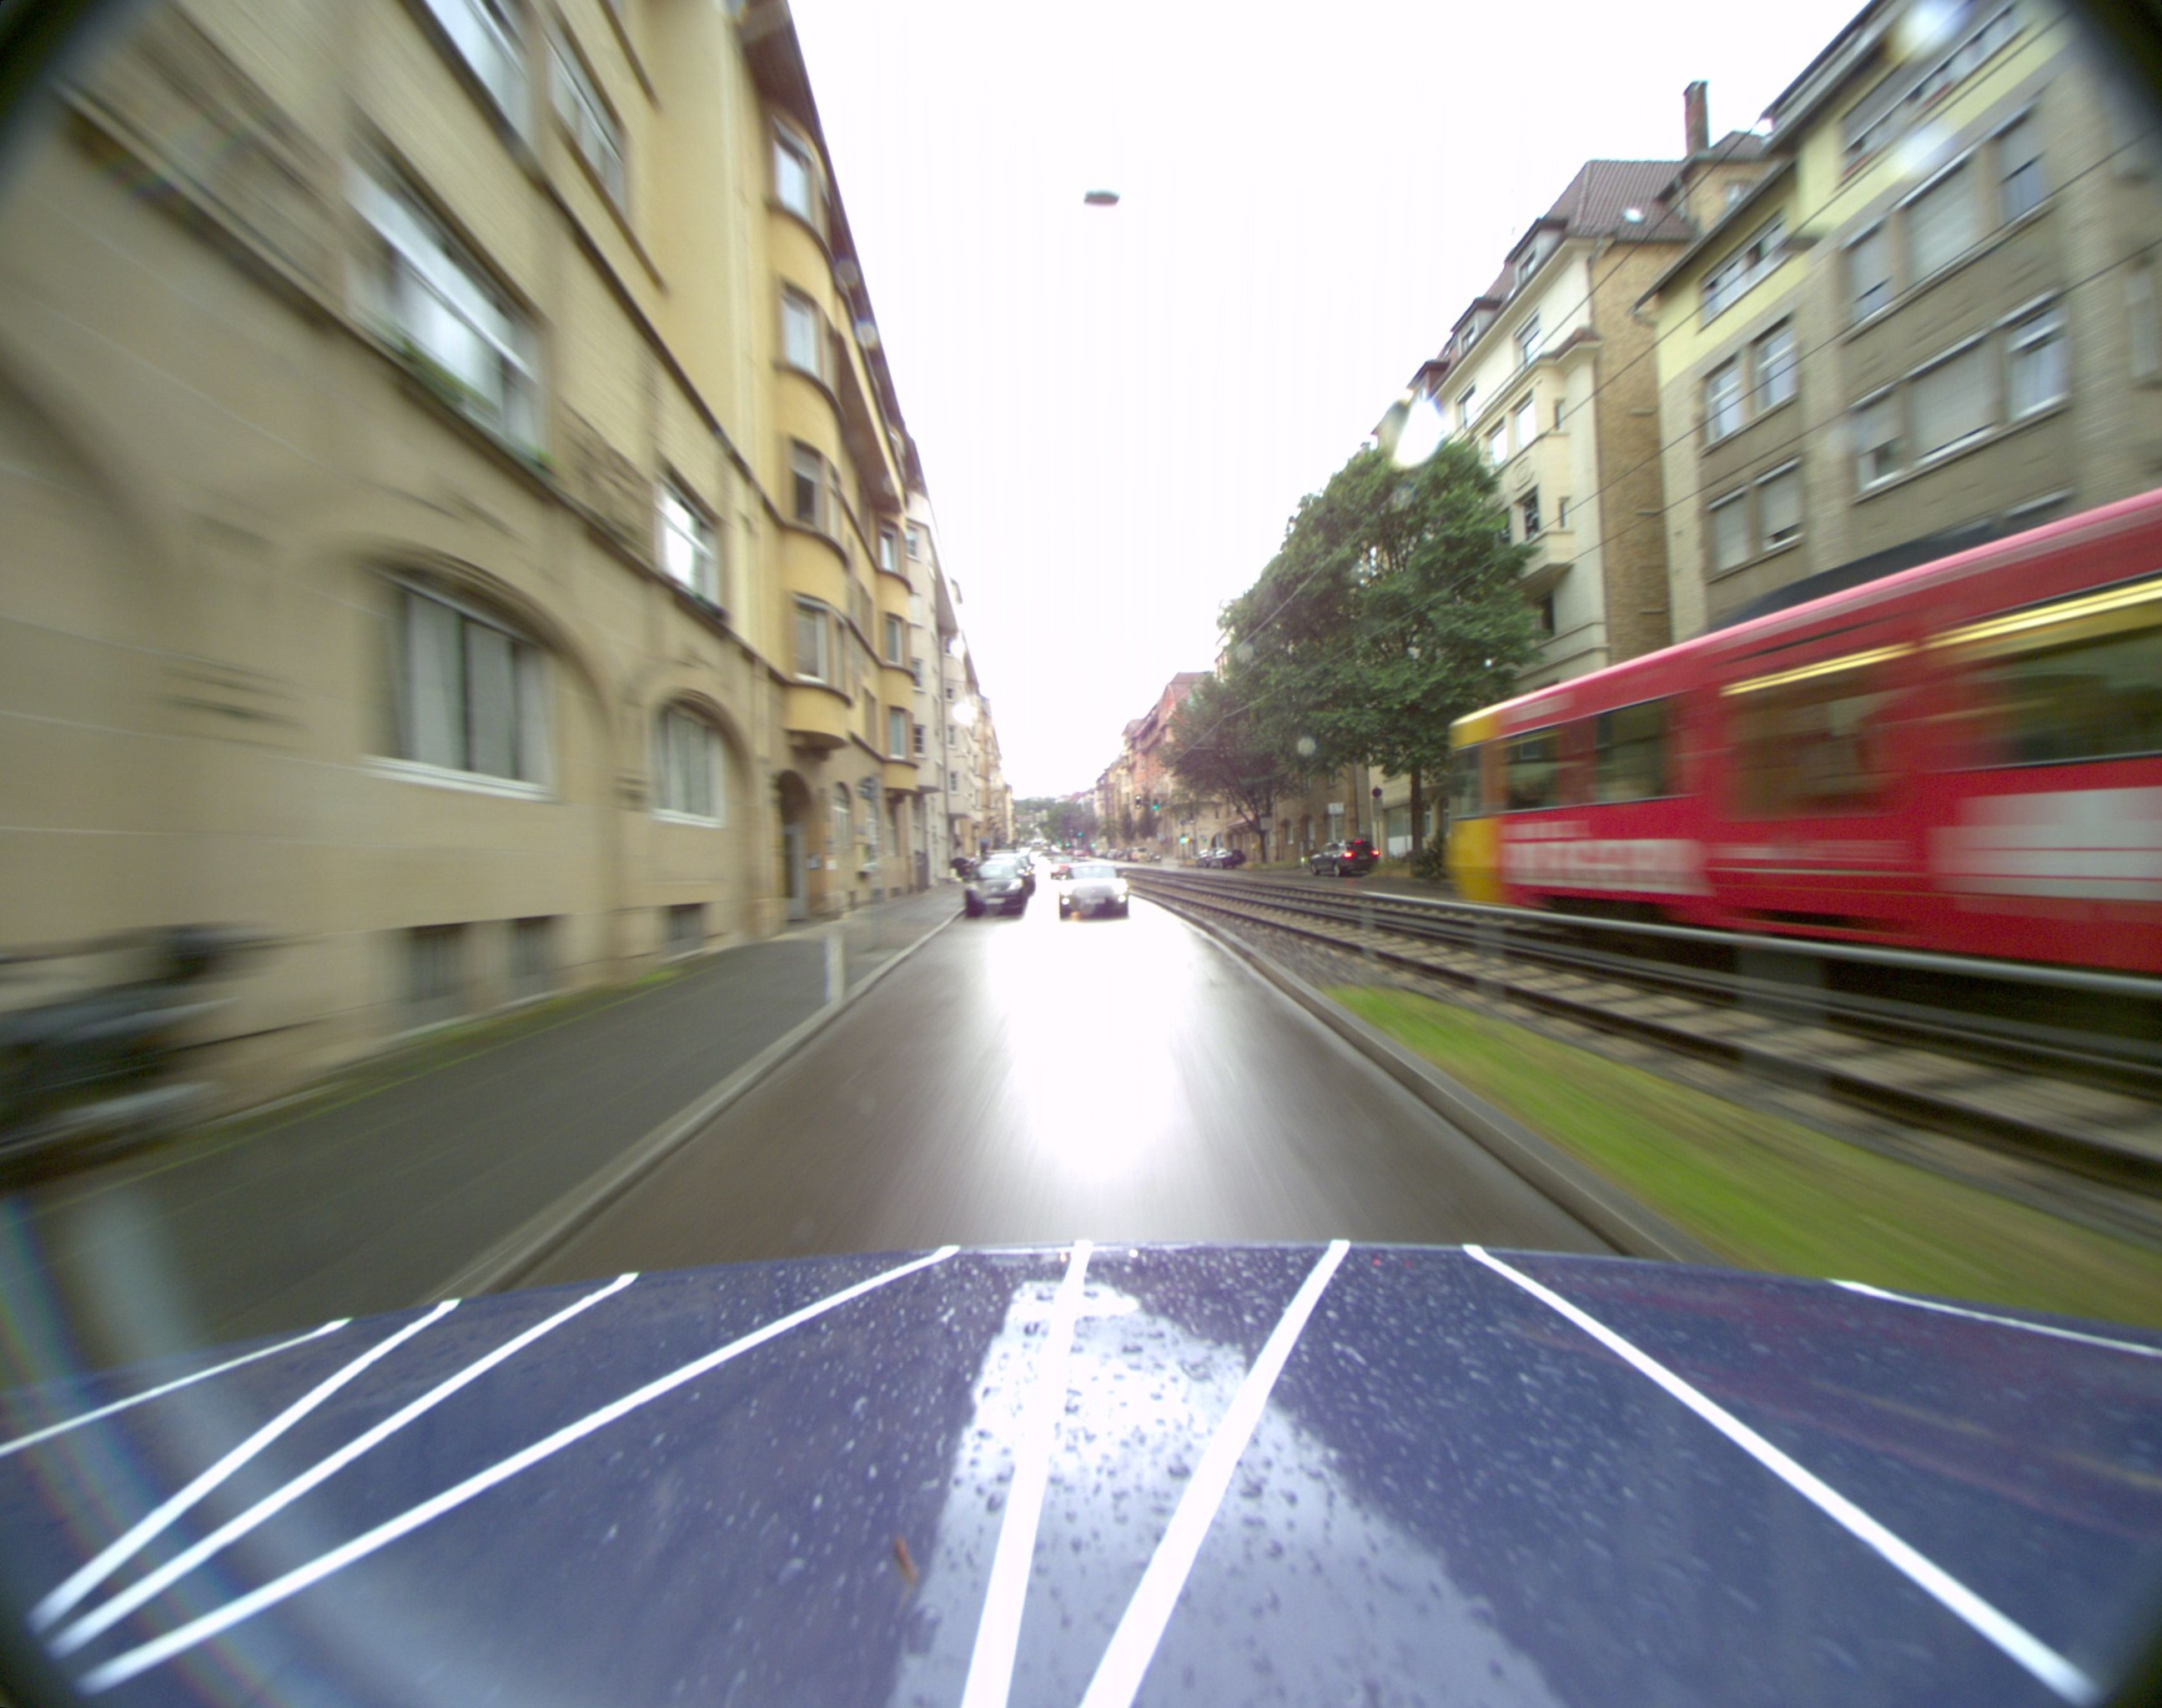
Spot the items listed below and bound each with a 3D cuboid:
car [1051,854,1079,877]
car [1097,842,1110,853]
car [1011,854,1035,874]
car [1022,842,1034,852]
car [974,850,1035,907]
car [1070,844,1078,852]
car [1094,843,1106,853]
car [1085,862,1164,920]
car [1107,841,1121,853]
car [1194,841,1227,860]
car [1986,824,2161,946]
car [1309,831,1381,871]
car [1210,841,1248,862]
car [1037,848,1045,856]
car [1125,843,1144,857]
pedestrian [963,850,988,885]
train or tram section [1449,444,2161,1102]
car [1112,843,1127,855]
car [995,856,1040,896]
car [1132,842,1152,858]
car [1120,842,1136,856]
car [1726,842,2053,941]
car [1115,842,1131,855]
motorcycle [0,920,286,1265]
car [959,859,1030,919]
[{"bbox_3d":[-1.045,0.712,49.241,1.690,1.451,3.298,0,0,-3],"label":"car"},{"bbox_3d":[4.344,-1.254,148.240,1.999,1.958,3.998,-2,0,-4],"label":"car"},{"bbox_3d":[-4.448,0.771,59.109,1.649,1.469,4.026,-2,0,-2],"label":"car"},{"bbox_3d":[-10.316,-1.422,148.425,1.999,1.761,3.999,-2,1,-1],"label":"car"},{"bbox_3d":[-2.574,0.771,26.387,1.741,1.788,4.264,-2,0,-2],"label":"car"},{"bbox_3d":[-1.917,-1.707,215.382,1.999,1.958,3.998,-2,0,-4],"label":"car"},{"bbox_3d":[3.939,-1.300,155.015,1.999,1.958,3.998,-2,0,-4],"label":"car"},{"bbox_3d":[1.063,0.913,20.337,1.705,1.280,4.194,-2,0,-2],"label":"car"},{"bbox_3d":[5.656,-1.120,130.513,1.999,1.958,3.998,-2,0,-4],"label":"car"},{"bbox_3d":[10.513,-0.264,61.855,1.649,1.481,4.164,-2,0,-4],"label":"car"},{"bbox_3d":[13.762,0.350,9.289,1.649,1.458,3.110,-2,0,-2],"label":"car"},{"bbox_3d":[12.119,-0.145,35.125,1.649,1.696,4.097,-2,0,-4],"label":"car"},{"bbox_3d":[10.846,-0.199,55.837,1.719,1.426,4.163,-2,1,-4],"label":"car"},{"bbox_3d":[-10.504,-0.616,201.598,1.999,1.958,3.998,-2,1,-4],"label":"car"},{"bbox_3d":[7.552,-0.546,107.445,1.999,1.958,3.998,-2,0,-4],"label":"car"},{"bbox_3d":[-5.389,0.688,38.895,1.126,1.703,1.101,-2,1,-6],"label":"pedestrian"},{"bbox_3d":[7.914,-0.494,2.554,2.722,3.898,19.288,-2,1,-4],"label":"train or tram section"},{"bbox_3d":[6.256,-0.827,124.505,1.999,1.958,3.998,-2,0,-4],"label":"car"},{"bbox_3d":[-2.649,0.894,32.424,1.649,1.536,4.026,-2,0,-2],"label":"car"},{"bbox_3d":[7.989,-0.486,100.034,1.999,1.958,3.998,-2,0,-4],"label":"car"},{"bbox_3d":[7.063,-0.753,114.497,1.999,1.958,3.998,-2,0,-4],"label":"car"},{"bbox_3d":[13.420,0.542,12.971,1.649,1.395,3.631,-2,0,-2],"label":"car"},{"bbox_3d":[6.644,-0.792,119.782,1.999,1.958,3.998,-2,0,-4],"label":"car"},{"bbox_3d":[-4.582,0.986,3.160,0.692,1.230,1.778,4,0,-3],"label":"motorcycle"},{"bbox_3d":[-2.352,0.923,21.540,1.633,1.443,3.999,-2,0,-2],"label":"car"}]
